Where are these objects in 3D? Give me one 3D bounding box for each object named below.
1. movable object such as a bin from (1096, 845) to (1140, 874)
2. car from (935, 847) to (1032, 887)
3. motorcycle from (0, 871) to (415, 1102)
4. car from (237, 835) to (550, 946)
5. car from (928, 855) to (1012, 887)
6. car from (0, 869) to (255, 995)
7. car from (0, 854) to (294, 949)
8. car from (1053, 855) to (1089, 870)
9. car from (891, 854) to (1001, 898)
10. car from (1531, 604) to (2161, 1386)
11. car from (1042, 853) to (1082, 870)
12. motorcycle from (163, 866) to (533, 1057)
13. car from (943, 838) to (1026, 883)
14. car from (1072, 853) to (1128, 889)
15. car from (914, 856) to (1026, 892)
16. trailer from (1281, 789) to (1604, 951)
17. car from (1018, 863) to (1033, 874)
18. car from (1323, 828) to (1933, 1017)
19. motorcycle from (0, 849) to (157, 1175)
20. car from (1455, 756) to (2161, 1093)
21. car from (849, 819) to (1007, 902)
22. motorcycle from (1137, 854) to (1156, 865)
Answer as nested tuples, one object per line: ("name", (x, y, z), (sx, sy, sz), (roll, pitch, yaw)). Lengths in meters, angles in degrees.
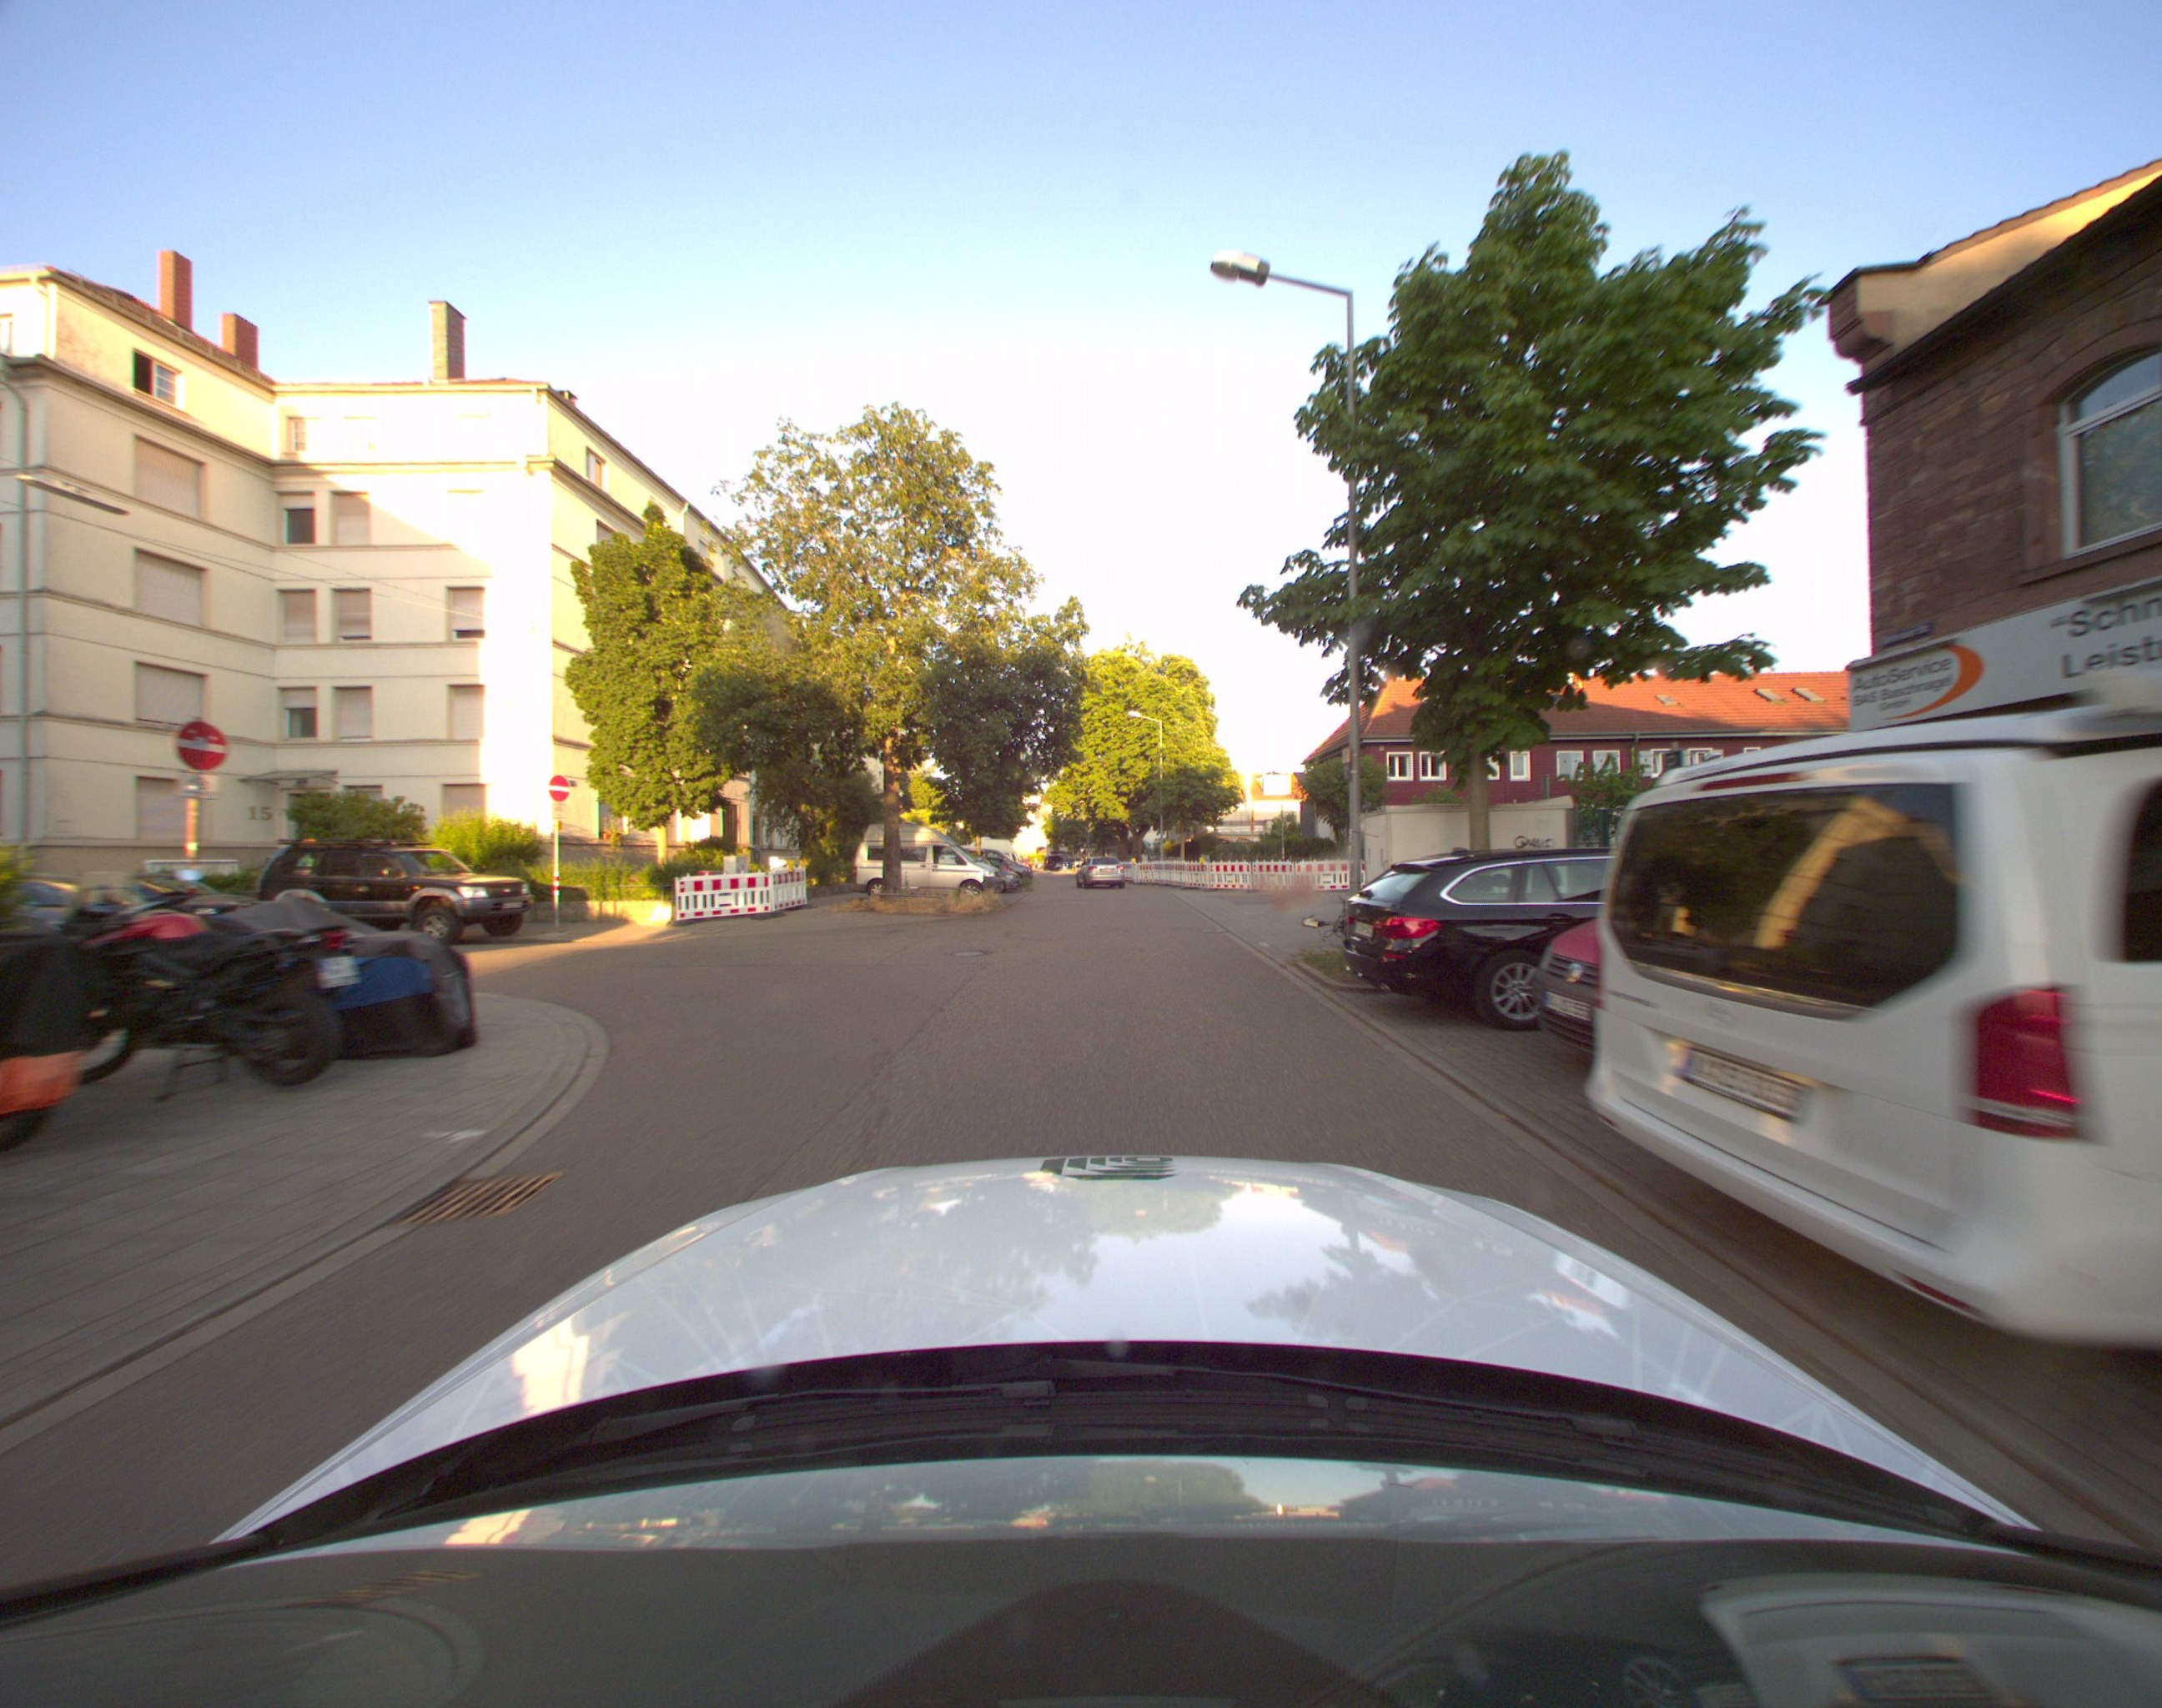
("movable object such as a bin", (3.129, 0.518, 70.904), (2.630, 2.403, 5.176), (-1, 0, -12))
("car", (-4.820, 0.626, 40.822), (4.665, 1.874, 1.997), (-1, -1, -5))
("motorcycle", (-5.957, 0.855, 5.598), (2.220, 1.436, 0.775), (-1, -1, 5))
("car", (-13.542, 0.693, 16.257), (4.559, 2.014, 2.001), (-1, -1, 2))
("car", (-5.177, 0.784, 38.215), (3.761, 1.439, 1.654), (0, -1, -4))
("car", (-13.547, 0.961, 10.593), (3.751, 1.464, 1.829), (-1, -1, 1))
("car", (-19.015, 0.913, 16.602), (3.973, 1.781, 2.000), (-1, -1, 0))
("car", (-1.166, 1.009, 97.399), (3.997, 1.651, 1.754), (-1, -1, -18))
("car", (-4.955, 0.798, 30.270), (3.792, 1.522, 1.652), (1, -1, -1))
("car", (4.167, 0.325, 2.944), (3.971, 1.904, 2.001), (-1, -1, 2))
("car", (-2.377, 0.906, 102.010), (4.565, 2.023, 2.090), (-1, -1, -15))
("motorcycle", (-5.972, 0.835, 6.715), (2.371, 1.436, 0.882), (-1, -1, 5))
("car", (-5.387, 0.370, 45.910), (4.494, 2.431, 1.997), (-1, -1, -5))
("car", (0.792, 0.730, 36.197), (1.807, 1.488, 3.988), (-1, -1, -9))
("car", (-4.421, 0.782, 32.810), (4.229, 1.394, 1.684), (0, -1, 1))
("trailer", (5.221, 0.232, 12.242), (3.971, 2.187, 2.001), (-1, -1, 2))
("car", (-8.178, 2.086, 119.497), (1.731, 1.484, 3.544), (-1, 0, -11))
("car", (4.693, 0.576, 7.531), (4.409, 1.499, 1.774), (-1, -1, 2))
("motorcycle", (-6.332, 0.782, 4.286), (2.220, 1.582, 0.775), (-1, -1, 5))
("car", (5.038, 0.390, 5.354), (4.283, 1.799, 1.905), (-1, -1, 2))
("car", (-4.949, 0.222, 26.768), (4.712, 2.569, 2.001), (-1, -1, 2))
("motorcycle", (6.755, 0.596, 84.228), (1.848, 1.106, 0.577), (0, -1, -23))
